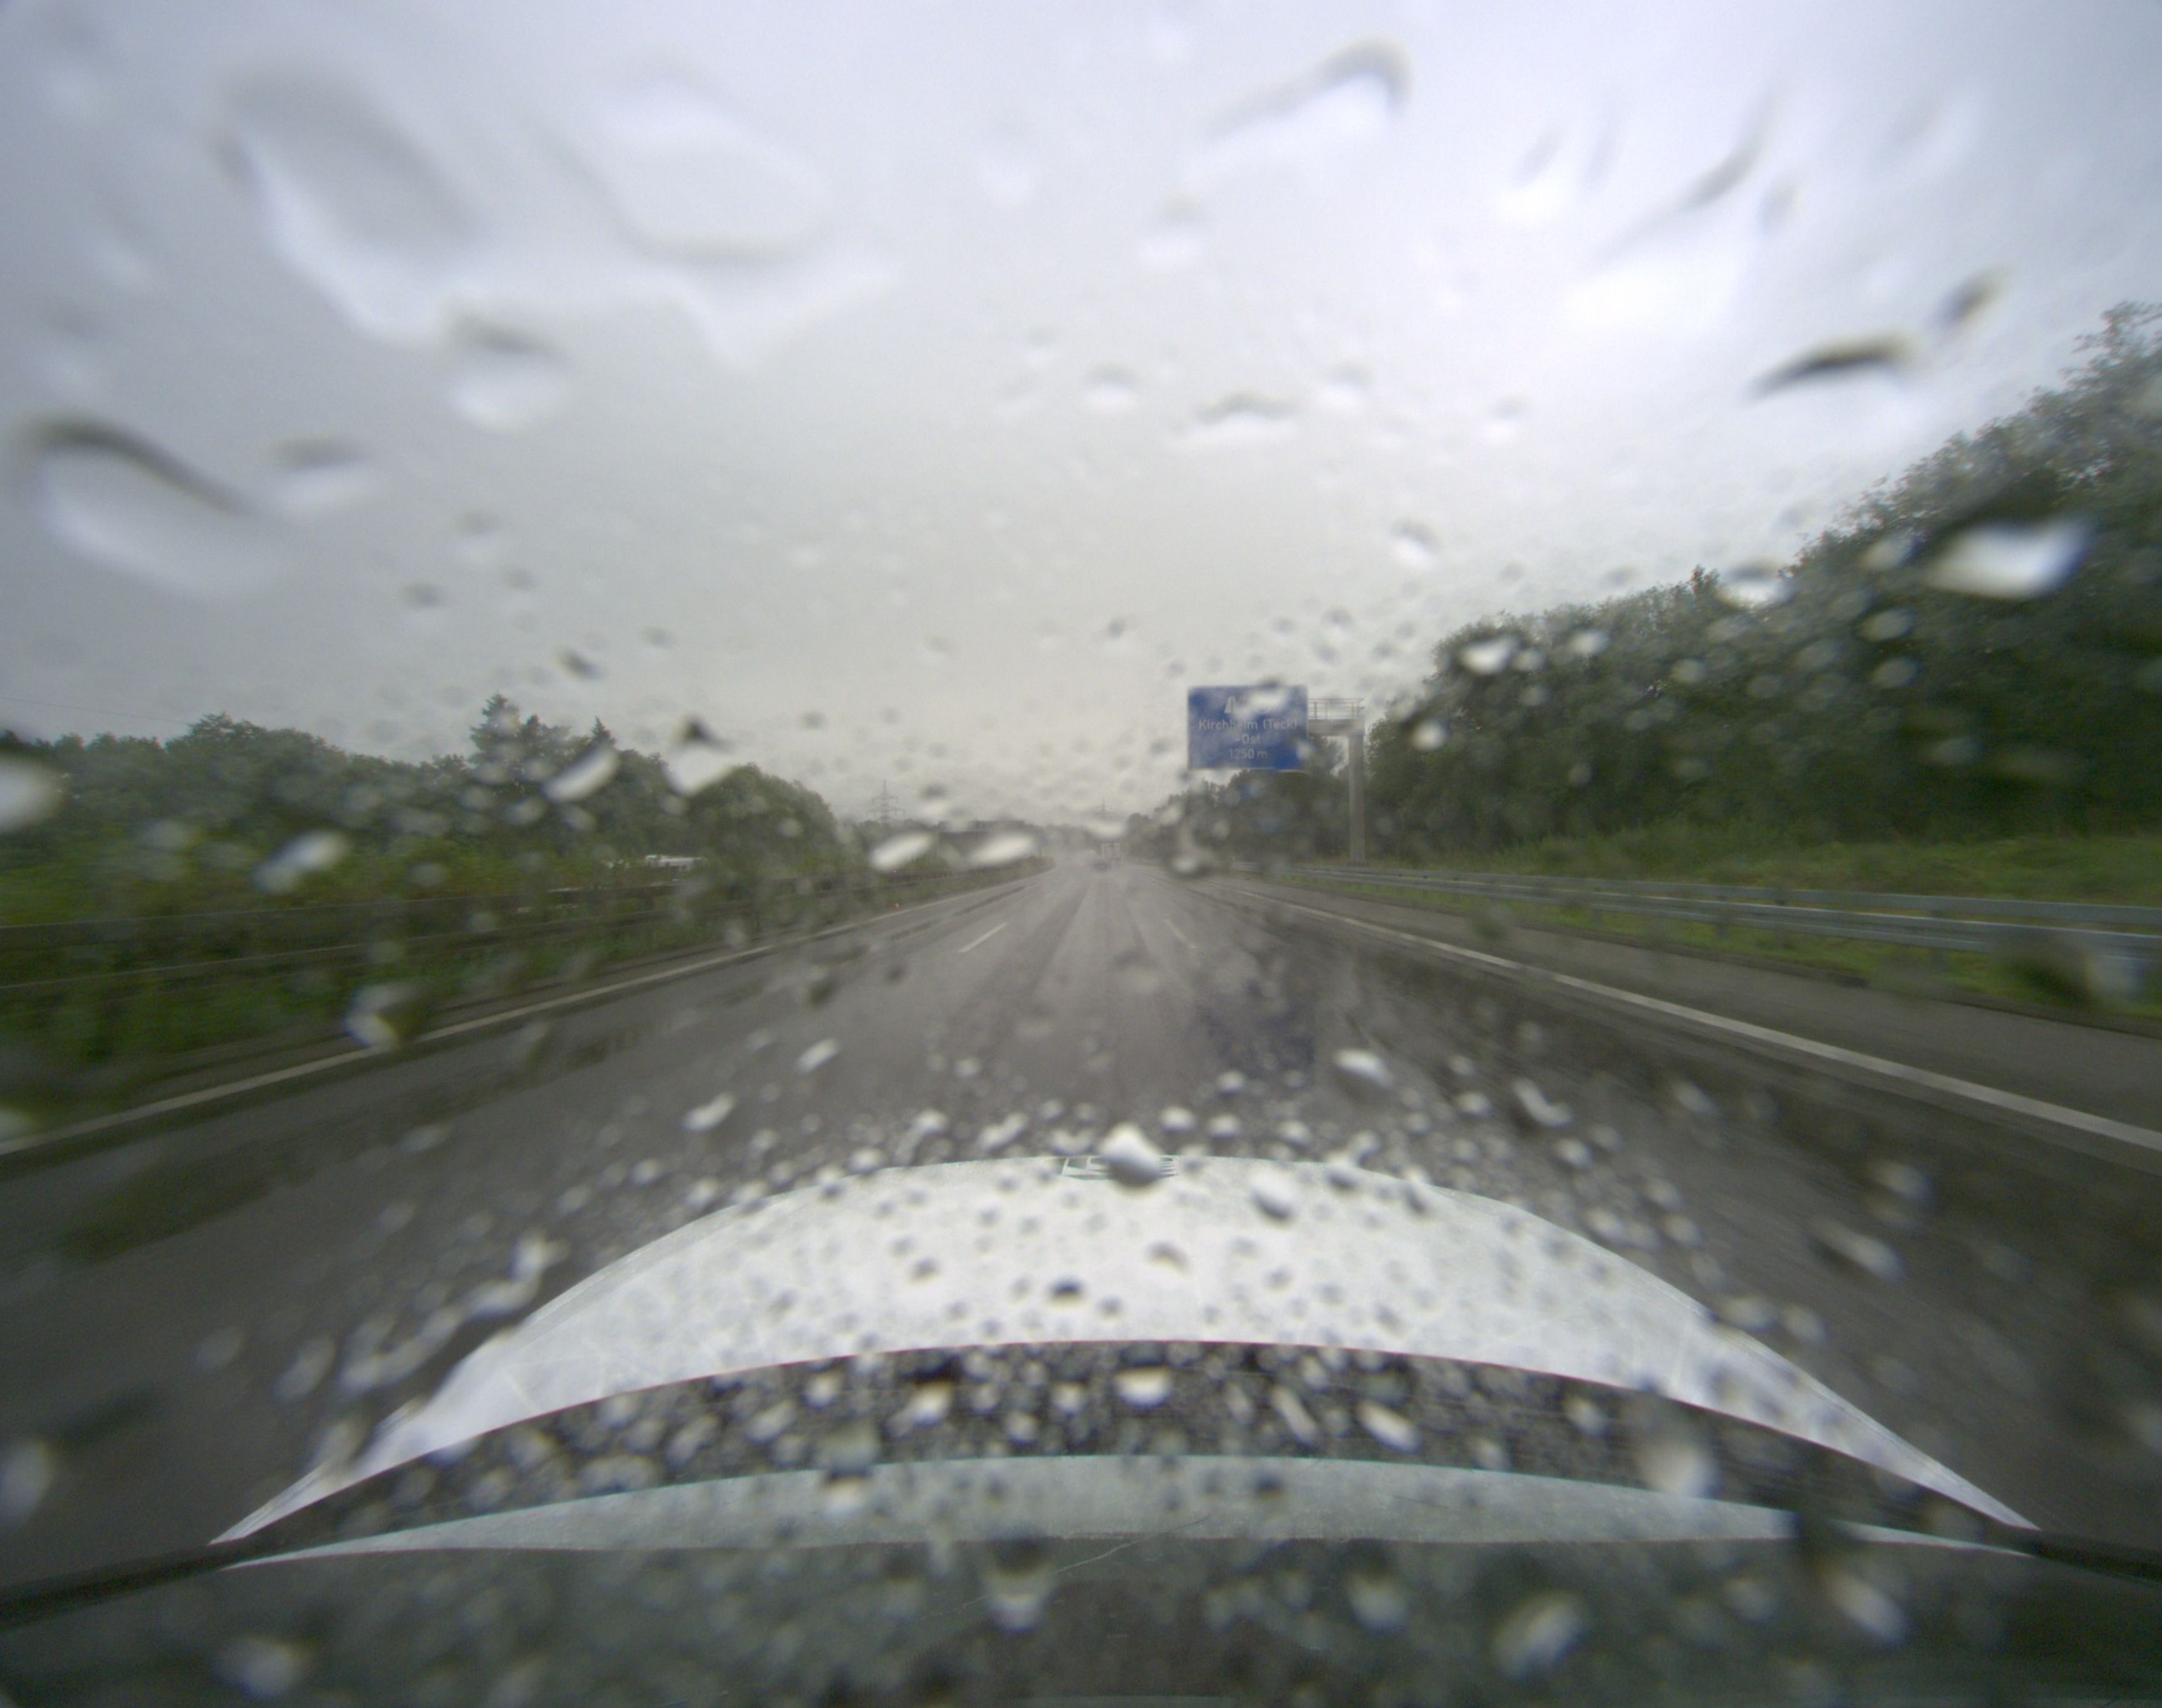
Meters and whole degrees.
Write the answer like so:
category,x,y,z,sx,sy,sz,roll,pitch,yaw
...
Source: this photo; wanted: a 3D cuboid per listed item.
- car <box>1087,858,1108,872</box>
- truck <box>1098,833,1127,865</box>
category,x,y,z,sx,sy,sz,roll,pitch,yaw
car,1.466,0.953,71.882,1.742,1.212,4.001,0,0,1
truck,5.273,-0.898,140.885,4.242,4.971,17.340,-3,0,0
